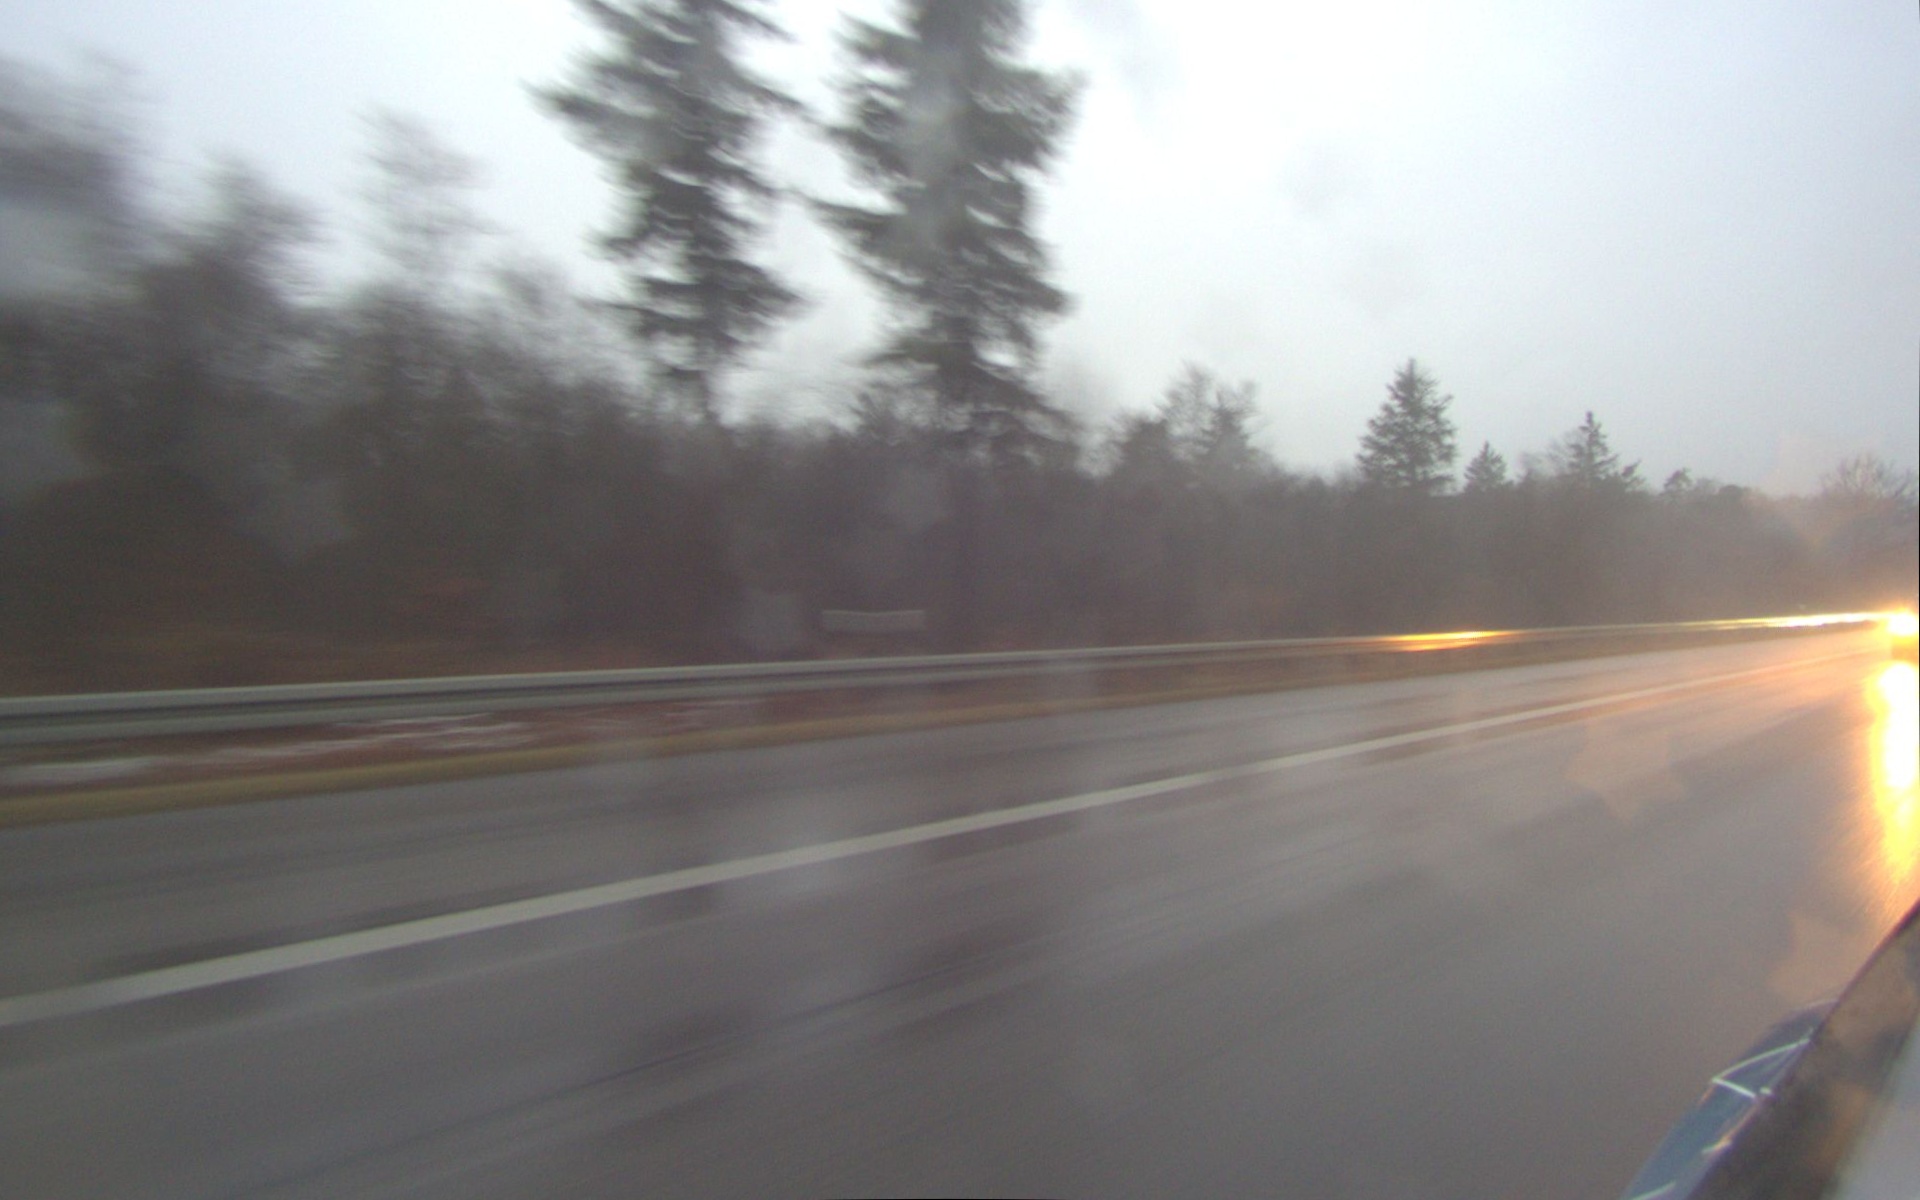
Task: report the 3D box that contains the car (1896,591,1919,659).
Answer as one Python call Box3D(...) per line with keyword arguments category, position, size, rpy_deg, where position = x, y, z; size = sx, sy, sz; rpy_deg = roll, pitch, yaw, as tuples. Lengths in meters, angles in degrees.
Box3D(category="car", position=(26.439, 0.631, 26.639), size=(4.381, 1.719, 2.075), rpy_deg=(0, 0, -39))
